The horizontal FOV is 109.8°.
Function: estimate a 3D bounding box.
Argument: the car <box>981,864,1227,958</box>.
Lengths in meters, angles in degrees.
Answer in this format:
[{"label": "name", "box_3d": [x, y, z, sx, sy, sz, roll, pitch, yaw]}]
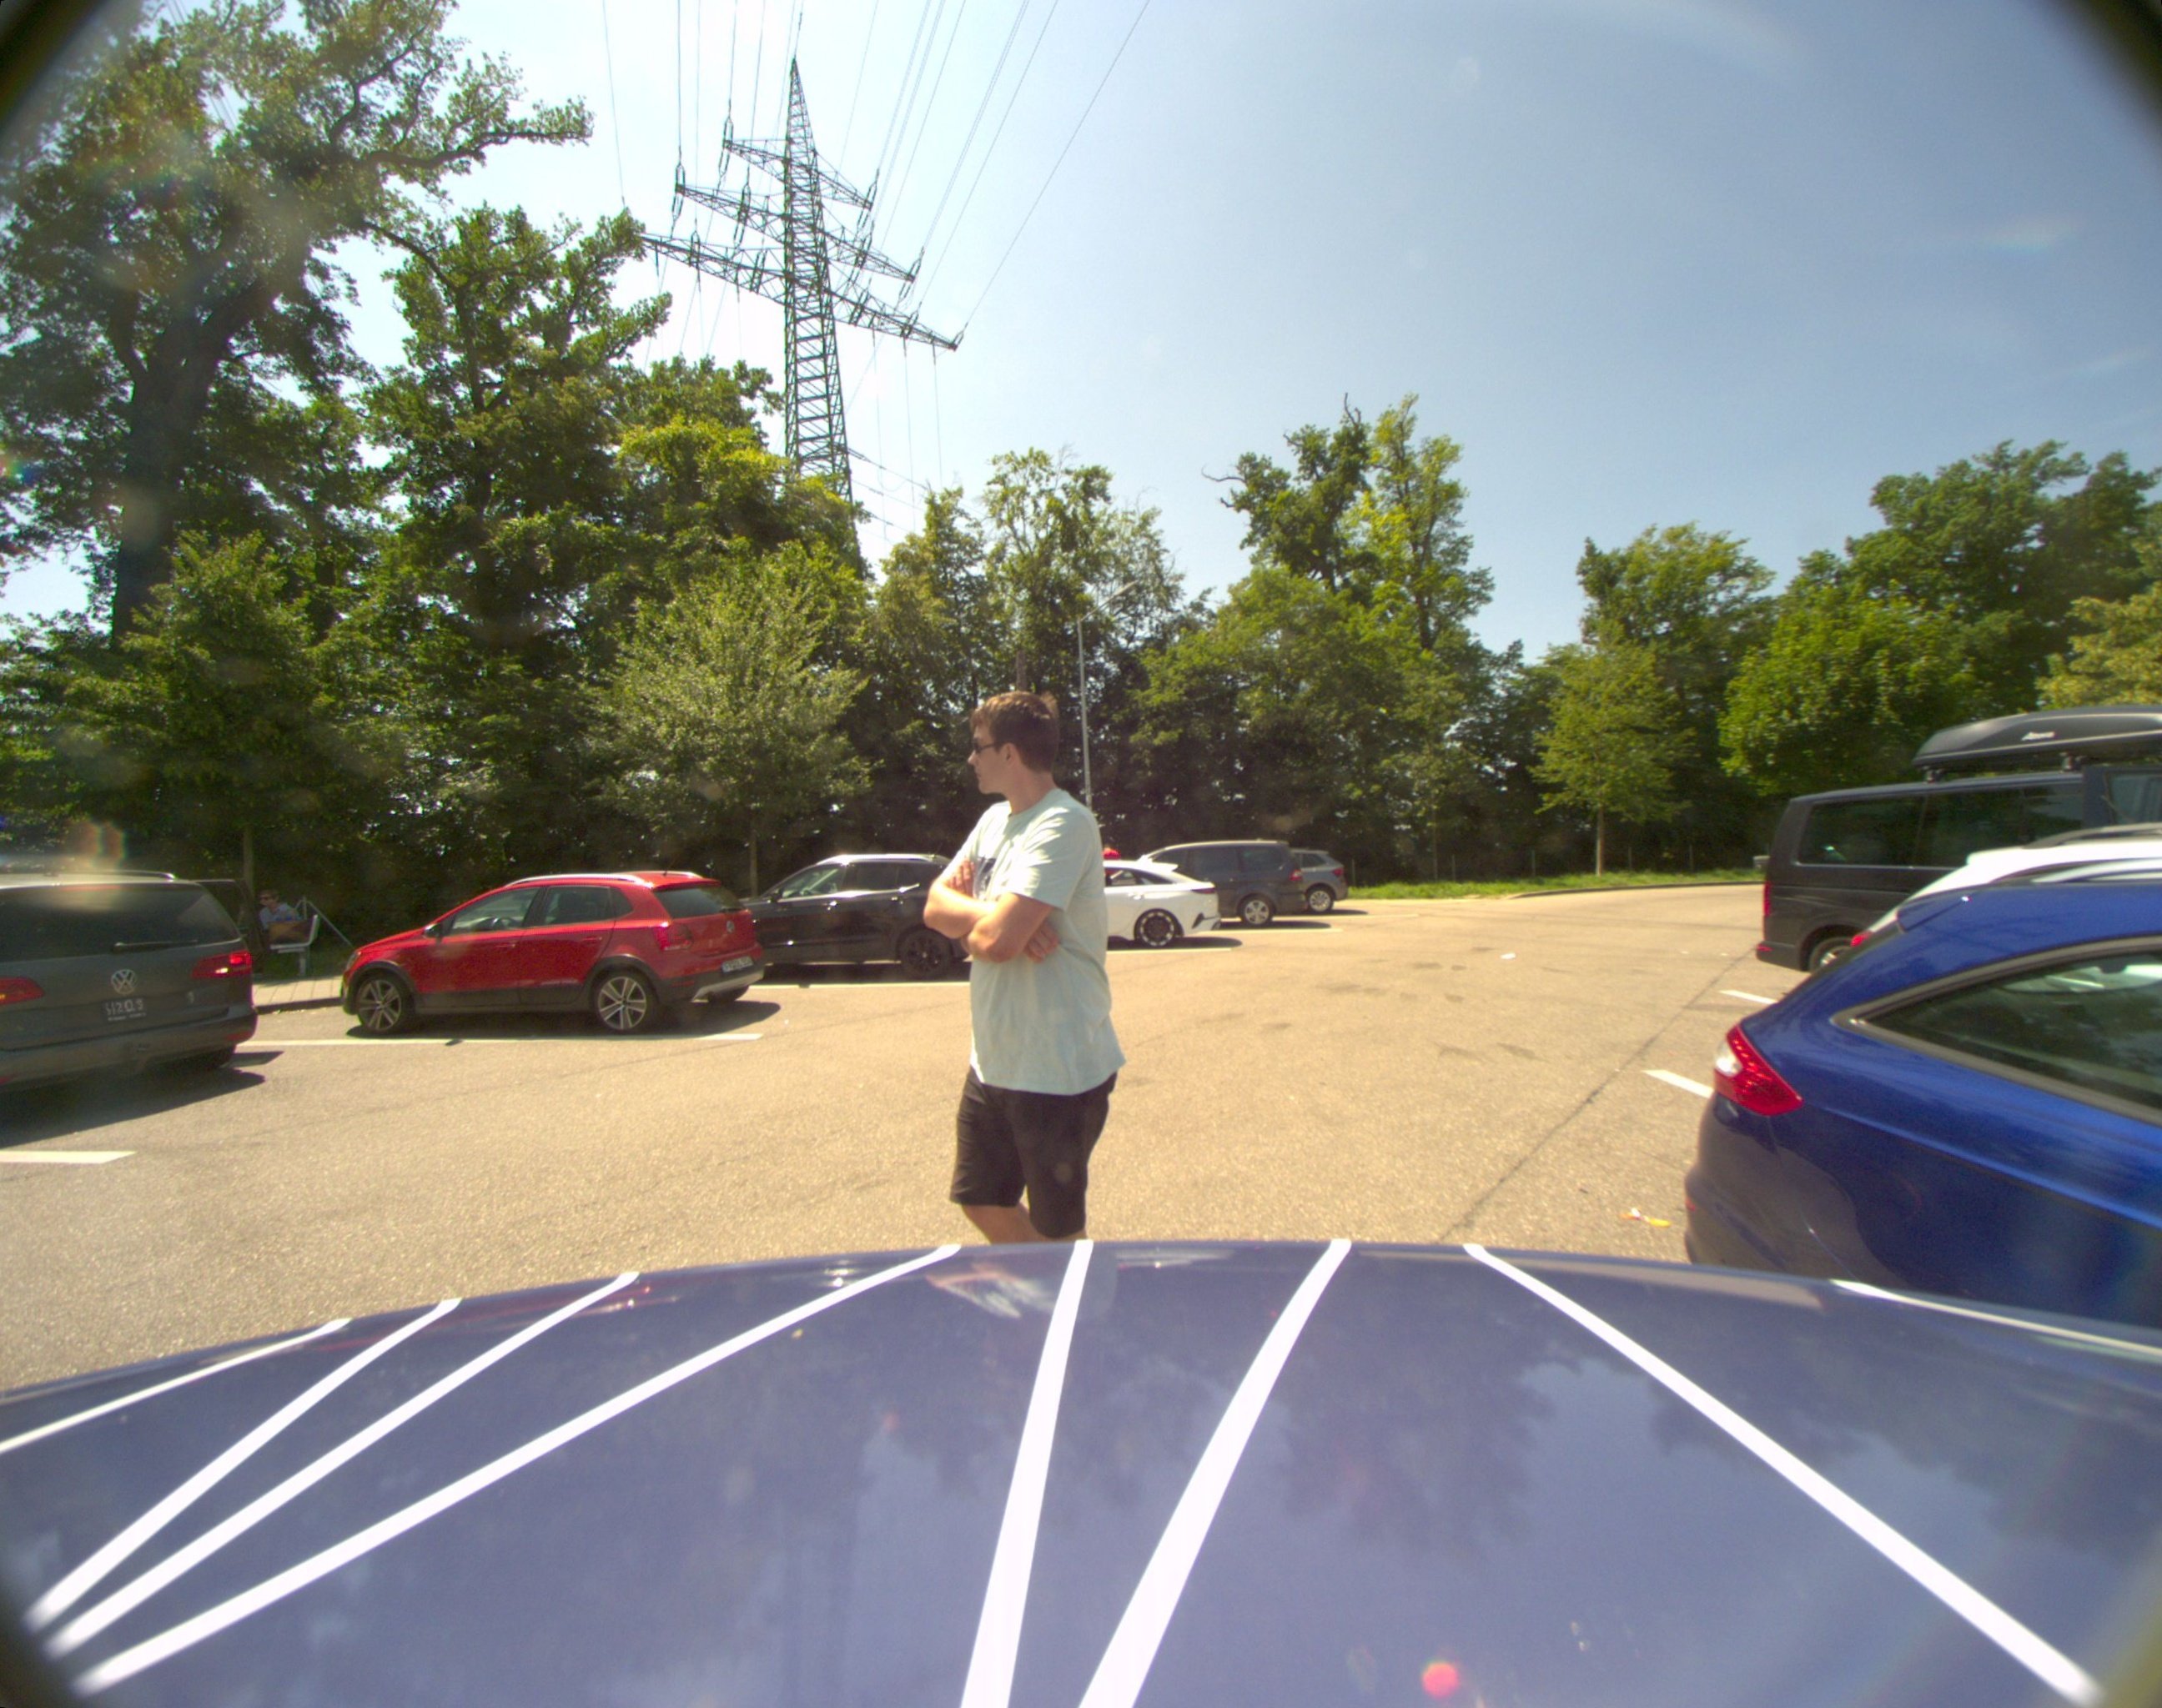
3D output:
[{"label": "car", "box_3d": [0.414, 0.913, 12.751, 3.805, 1.359, 1.803, -1, 1, 5]}]

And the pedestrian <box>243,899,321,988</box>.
[{"label": "pedestrian", "box_3d": [-11.710, 1.298, 11.136, 0.680, 1.211, 0.675, -4, -2, 36]}]

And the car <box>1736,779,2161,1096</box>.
[{"label": "car", "box_3d": [7.313, 0.460, 5.033, 2.048, 1.850, 4.430, -2, -1, -1]}]

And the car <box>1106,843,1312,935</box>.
[{"label": "car", "box_3d": [2.516, 0.686, 15.501, 3.882, 1.680, 1.882, -1, 0, 5]}]

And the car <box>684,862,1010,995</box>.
[{"label": "car", "box_3d": [-3.001, 0.944, 10.301, 3.806, 1.538, 1.759, -1, 1, 2]}]

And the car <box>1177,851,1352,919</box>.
[{"label": "car", "box_3d": [4.265, 0.714, 18.144, 3.805, 1.468, 1.743, -1, 1, 5]}]

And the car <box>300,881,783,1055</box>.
[{"label": "car", "box_3d": [-5.238, 1.069, 7.651, 3.804, 1.449, 1.637, -1, 1, 7]}]

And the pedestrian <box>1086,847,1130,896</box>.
[{"label": "pedestrian", "box_3d": [0.732, 0.471, 20.503, 0.890, 1.292, 0.865, -2, 0, 25]}]

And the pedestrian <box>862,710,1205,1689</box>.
[{"label": "pedestrian", "box_3d": [-0.179, 0.654, 1.890, 0.634, 1.857, 0.747, -2, 0, -17]}]

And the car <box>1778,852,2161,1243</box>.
[{"label": "car", "box_3d": [4.785, 0.705, 2.437, 1.607, 1.405, 3.743, -2, -1, -1]}]

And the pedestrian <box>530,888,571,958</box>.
[{"label": "pedestrian", "box_3d": [-10.162, 1.304, 14.545, 0.490, 1.291, 0.506, -2, 0, 41]}]

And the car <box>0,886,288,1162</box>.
[{"label": "car", "box_3d": [-8.337, 1.100, 5.459, 3.950, 1.581, 1.753, -1, 1, 11]}]

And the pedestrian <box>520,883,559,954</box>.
[{"label": "pedestrian", "box_3d": [-10.947, 1.288, 15.351, 0.490, 1.367, 0.506, -2, 0, 41]}]
